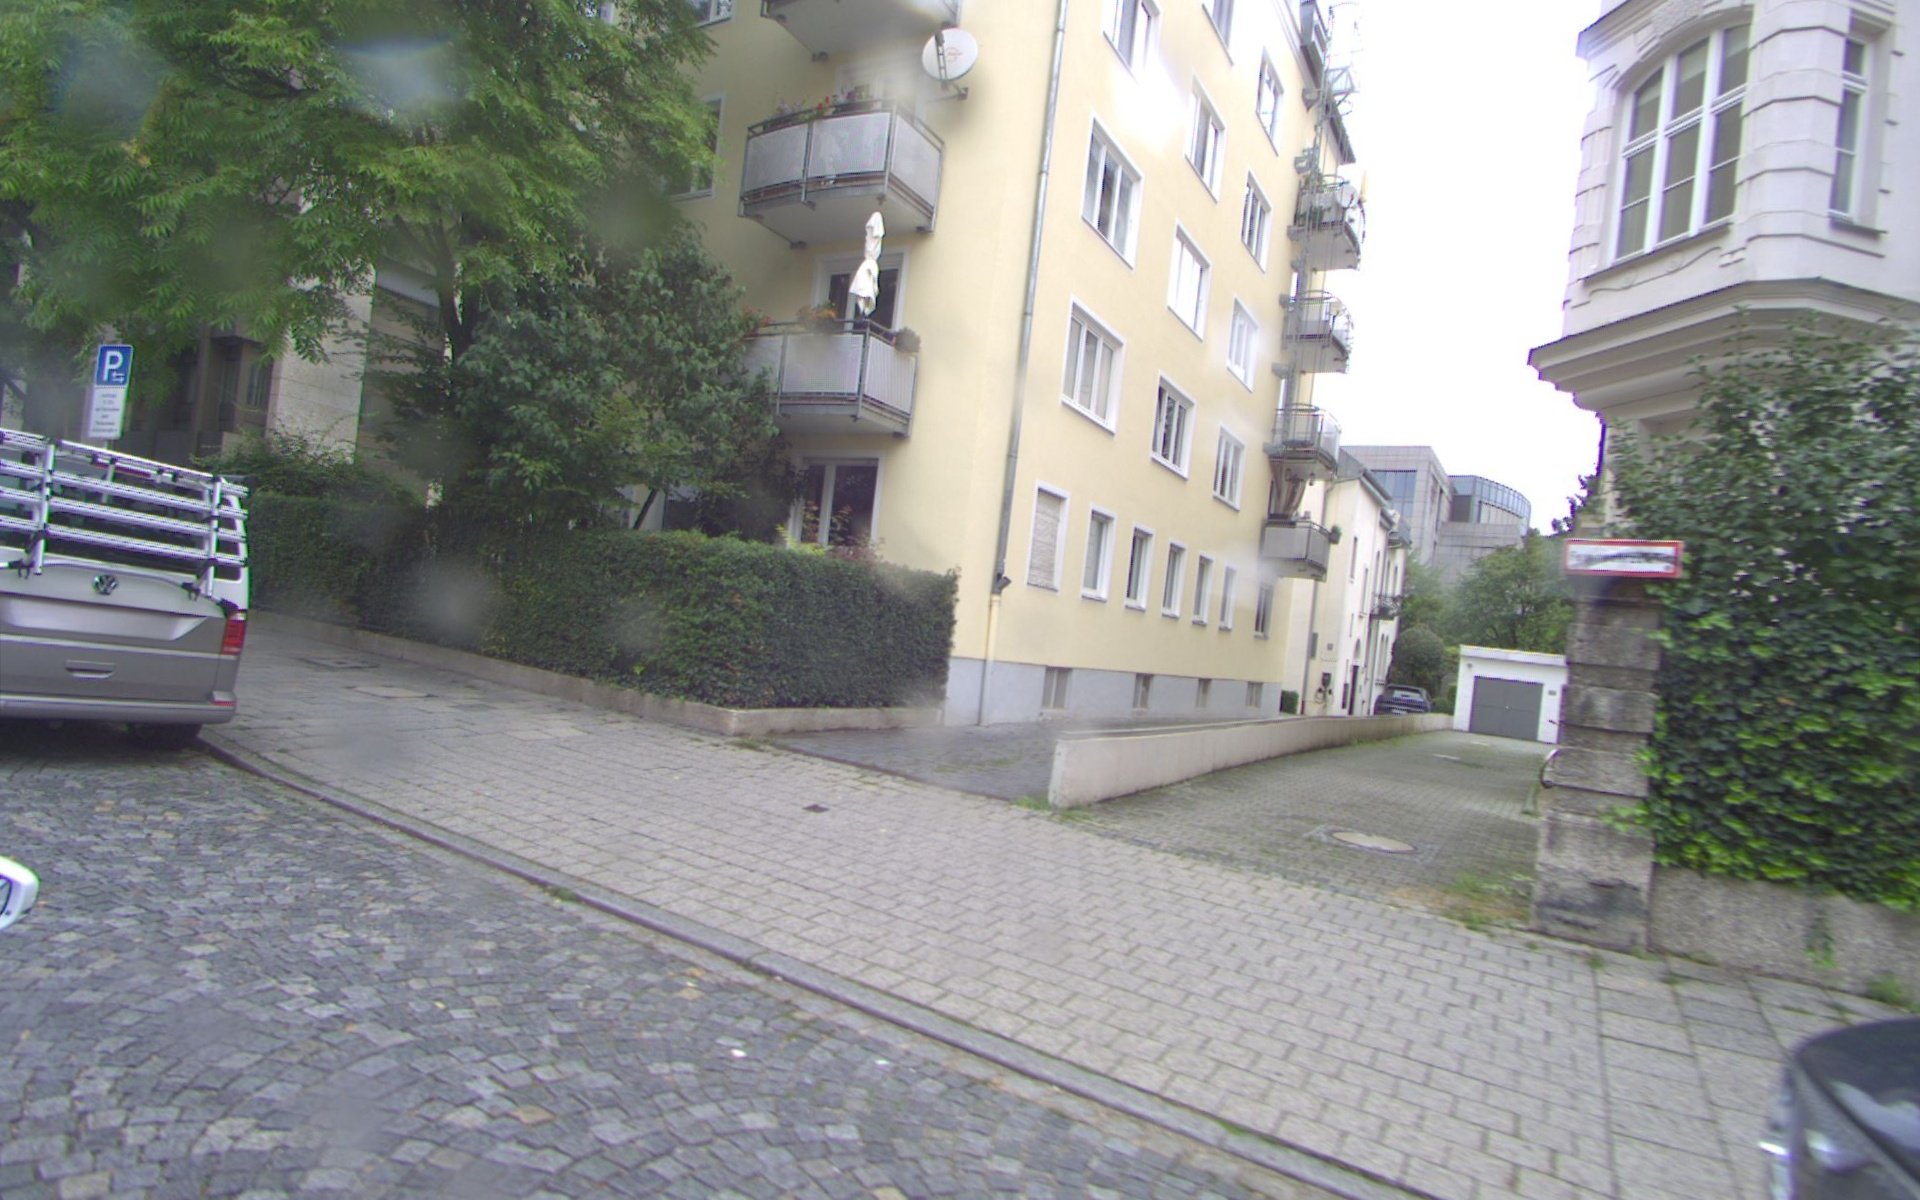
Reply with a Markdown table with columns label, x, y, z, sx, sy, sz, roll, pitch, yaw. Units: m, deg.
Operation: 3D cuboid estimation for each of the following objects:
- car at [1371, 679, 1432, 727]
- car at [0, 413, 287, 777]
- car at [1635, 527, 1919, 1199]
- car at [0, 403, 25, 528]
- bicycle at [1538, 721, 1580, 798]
| label | x | y | z | sx | sy | sz | roll | pitch | yaw |
| --- | --- | --- | --- | --- | --- | --- | --- | --- | --- |
| car | 17.044 | 3.962 | 38.762 | 1.728 | 1.515 | 3.473 | 6 | -2 | 29 |
| car | -7.088 | -0.164 | 7.086 | 4.779 | 1.970 | 1.806 | 6 | -4 | 31 |
| car | 3.415 | 1.090 | 0.524 | 4.871 | 1.779 | 1.967 | 6 | -2 | 31 |
| car | -11.807 | -1.017 | 10.001 | 5.516 | 2.451 | 1.902 | 7 | -4 | 31 |
| bicycle | 8.690 | 2.284 | 14.579 | 0.408 | 0.997 | 1.481 | 6 | -2 | 32 |
